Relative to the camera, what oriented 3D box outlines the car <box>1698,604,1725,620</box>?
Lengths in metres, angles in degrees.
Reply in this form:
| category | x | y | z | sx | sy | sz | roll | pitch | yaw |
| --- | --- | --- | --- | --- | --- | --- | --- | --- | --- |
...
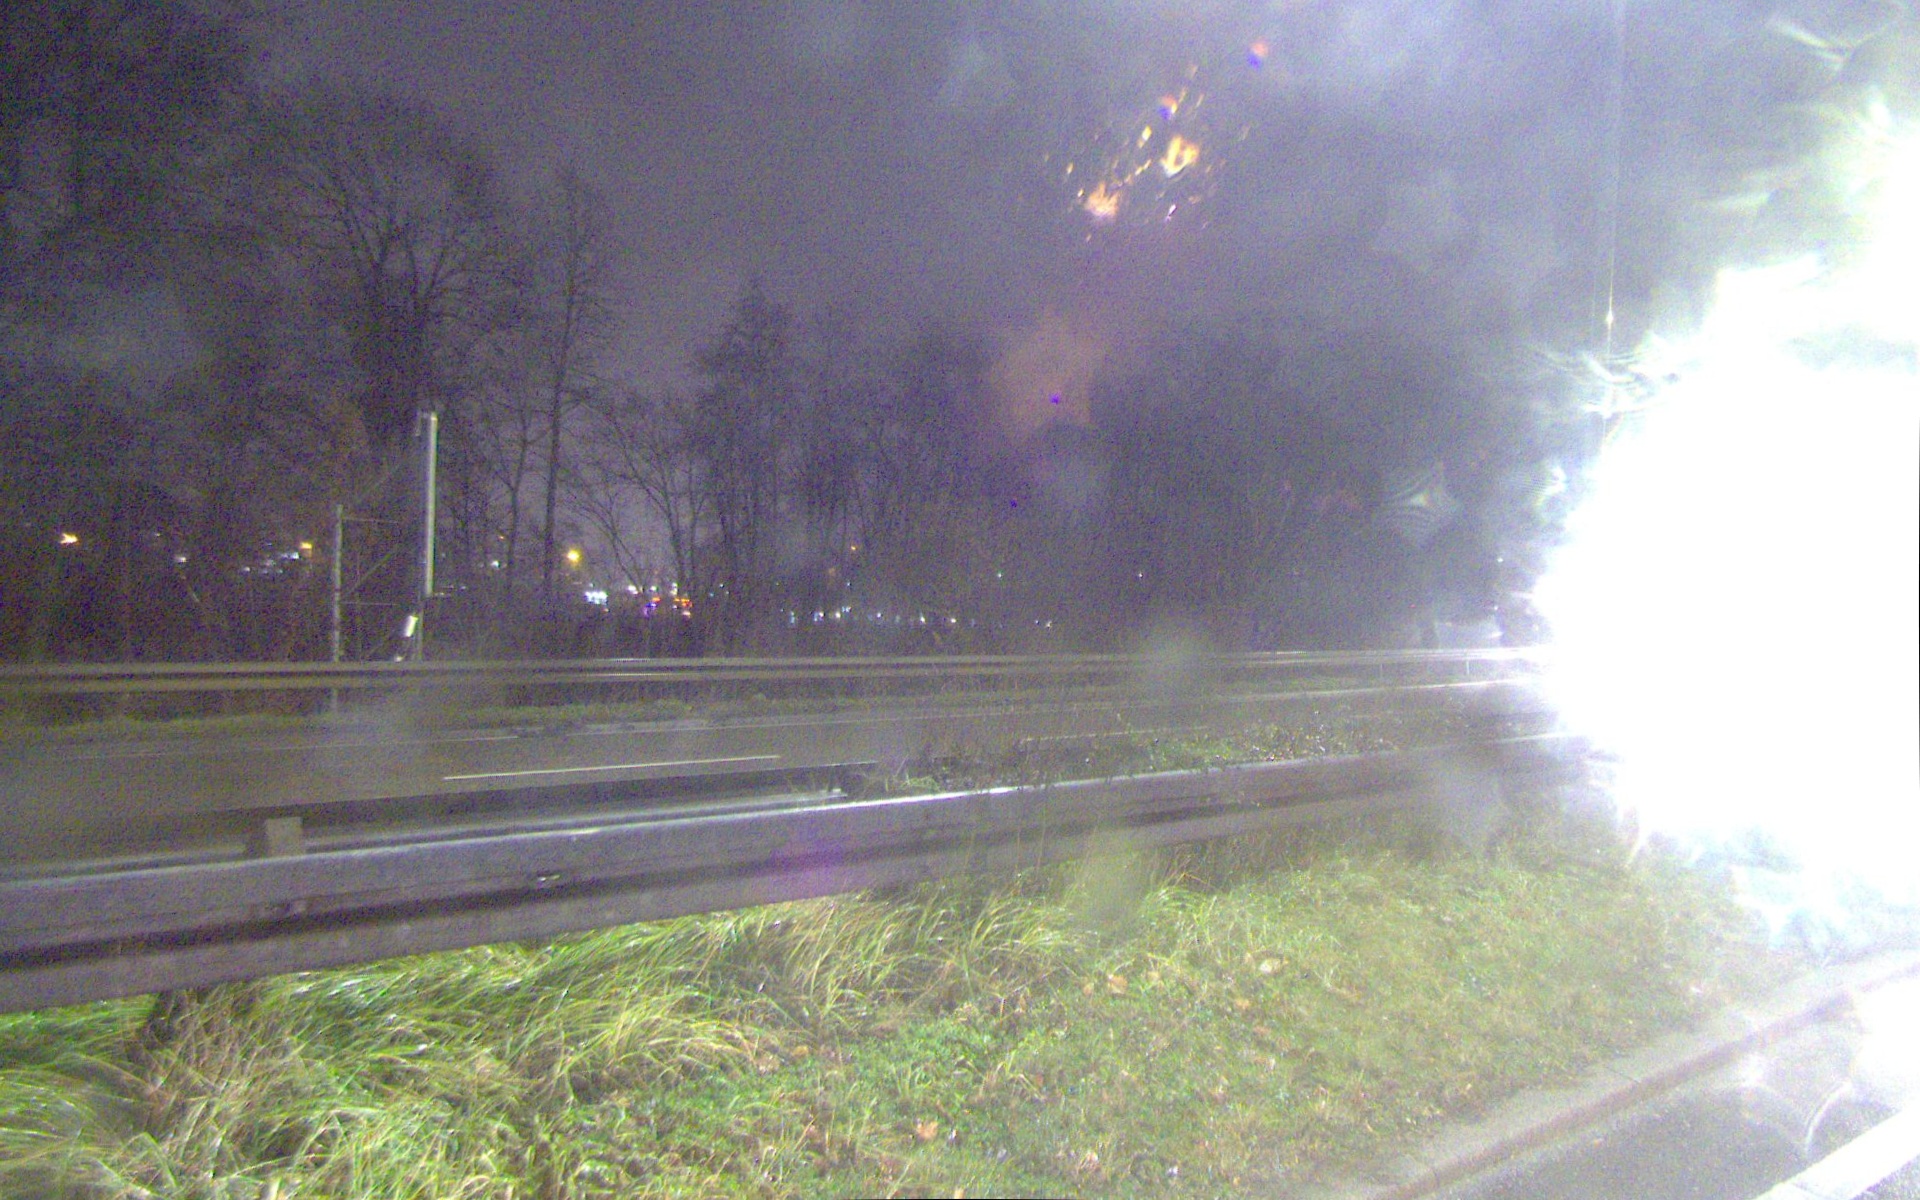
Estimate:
| category | x | y | z | sx | sy | sz | roll | pitch | yaw |
| --- | --- | --- | --- | --- | --- | --- | --- | --- | --- |
| car | 73.929 | 1.206 | 98.881 | 1.716 | 1.522 | 3.991 | 1 | 0 | 31 |

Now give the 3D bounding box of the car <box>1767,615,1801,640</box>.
| category | x | y | z | sx | sy | sz | roll | pitch | yaw |
| --- | --- | --- | --- | --- | --- | --- | --- | --- | --- |
| car | 57.022 | 1.882 | 69.583 | 1.744 | 1.653 | 4.232 | 0 | 0 | 38 |

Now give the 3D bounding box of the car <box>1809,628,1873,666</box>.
| category | x | y | z | sx | sy | sz | roll | pitch | yaw |
| --- | --- | --- | --- | --- | --- | --- | --- | --- | --- |
| car | 36.051 | 1.905 | 41.051 | 1.694 | 1.442 | 4.638 | 0 | -2 | 45 |

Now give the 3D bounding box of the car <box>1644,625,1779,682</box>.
| category | x | y | z | sx | sy | sz | roll | pitch | yaw |
| --- | --- | --- | --- | --- | --- | --- | --- | --- | --- |
| car | 22.088 | 1.524 | 29.461 | 4.795 | 1.528 | 1.979 | 2 | -2 | -37 |
